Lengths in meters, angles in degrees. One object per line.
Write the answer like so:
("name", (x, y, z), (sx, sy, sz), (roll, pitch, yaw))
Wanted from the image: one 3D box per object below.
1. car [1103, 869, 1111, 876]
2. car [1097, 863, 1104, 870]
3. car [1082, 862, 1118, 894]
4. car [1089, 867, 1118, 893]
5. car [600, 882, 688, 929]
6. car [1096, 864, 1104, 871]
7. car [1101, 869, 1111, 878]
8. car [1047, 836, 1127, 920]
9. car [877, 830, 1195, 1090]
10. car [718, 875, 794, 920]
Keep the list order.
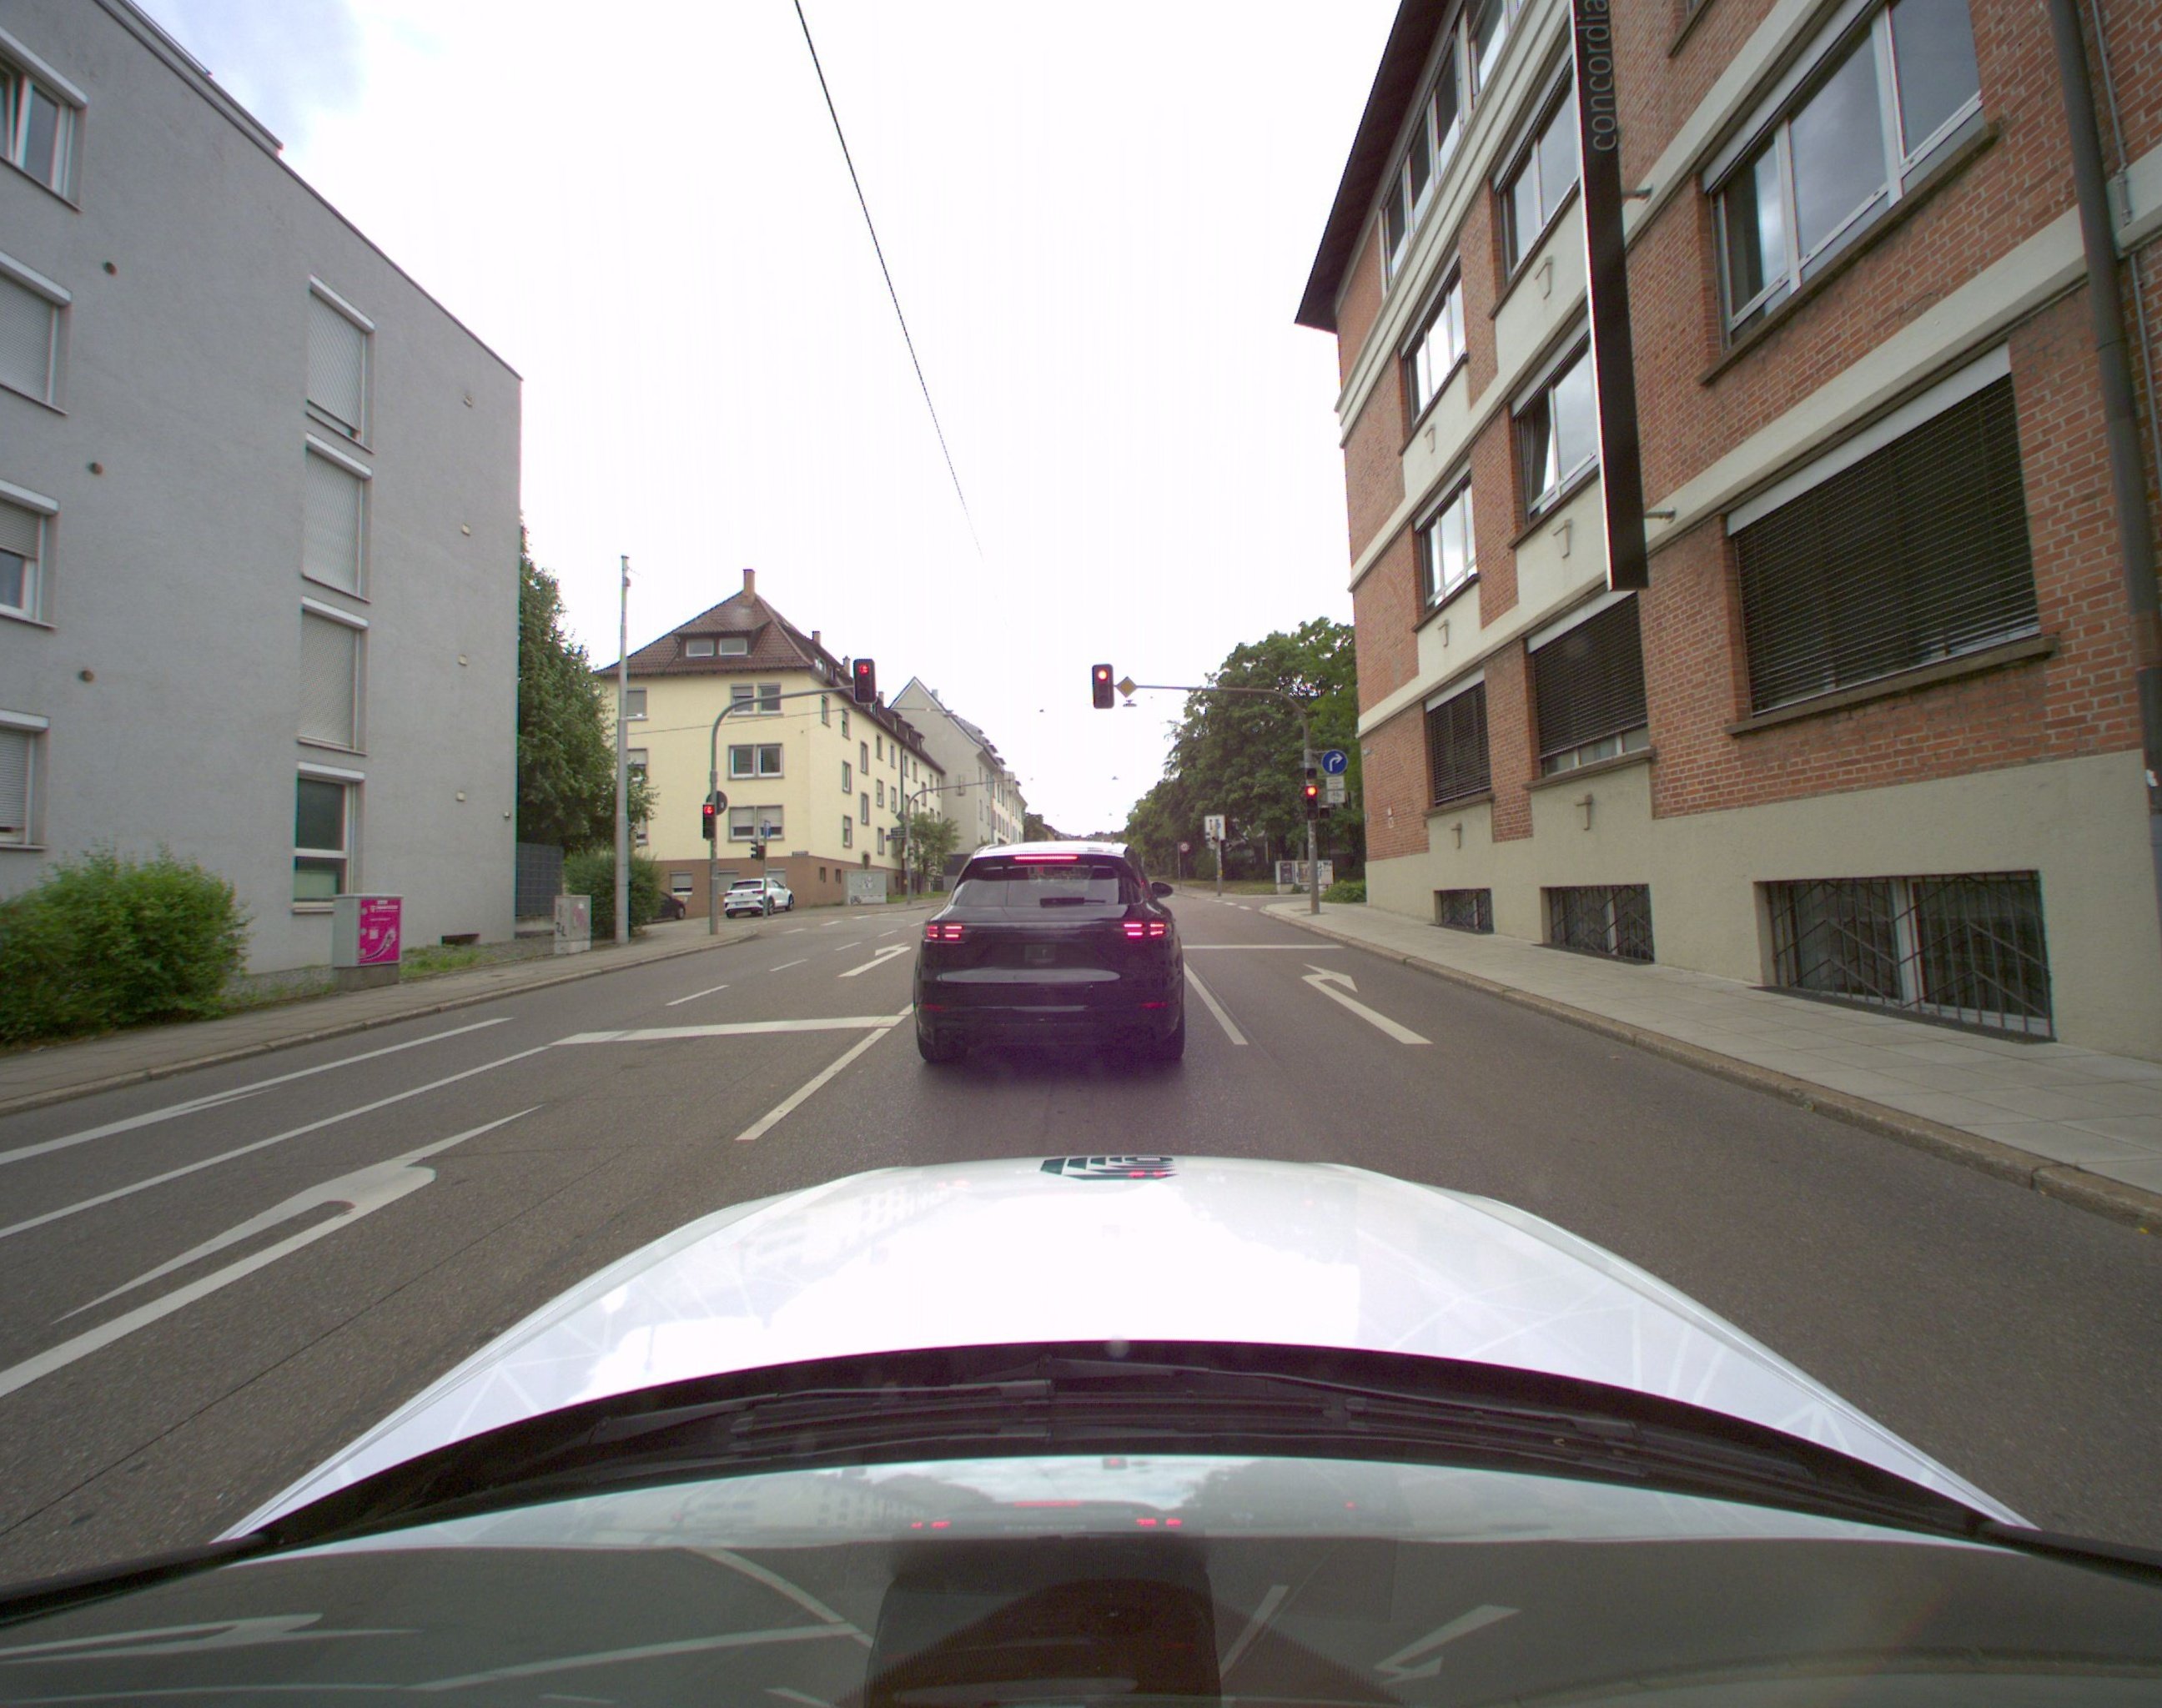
("car", (5.891, 4.117, 182.534), (1.820, 1.605, 4.137), (0, 0, 2))
("car", (5.105, 3.255, 210.379), (1.820, 1.605, 4.137), (0, 0, 2))
("car", (1.053, 1.267, 43.933), (1.820, 1.605, 4.137), (0, 0, 2))
("car", (1.469, 1.646, 52.641), (1.820, 1.605, 3.860), (0, 0, 2))
("car", (-18.498, 2.138, 34.646), (1.686, 1.608, 3.763), (-4, 0, -2))
("car", (4.686, 3.281, 203.057), (1.820, 1.605, 4.137), (0, 0, 2))
("car", (5.052, 3.886, 163.368), (1.820, 1.605, 4.137), (0, 0, 2))
("car", (0.224, 0.598, 22.025), (1.957, 2.042, 4.137), (0, 0, 2))
("car", (-0.211, 0.684, 7.374), (2.040, 1.666, 4.269), (0, 0, 2))
("car", (-13.534, 1.773, 34.181), (1.686, 1.555, 3.763), (-4, 0, -2))
